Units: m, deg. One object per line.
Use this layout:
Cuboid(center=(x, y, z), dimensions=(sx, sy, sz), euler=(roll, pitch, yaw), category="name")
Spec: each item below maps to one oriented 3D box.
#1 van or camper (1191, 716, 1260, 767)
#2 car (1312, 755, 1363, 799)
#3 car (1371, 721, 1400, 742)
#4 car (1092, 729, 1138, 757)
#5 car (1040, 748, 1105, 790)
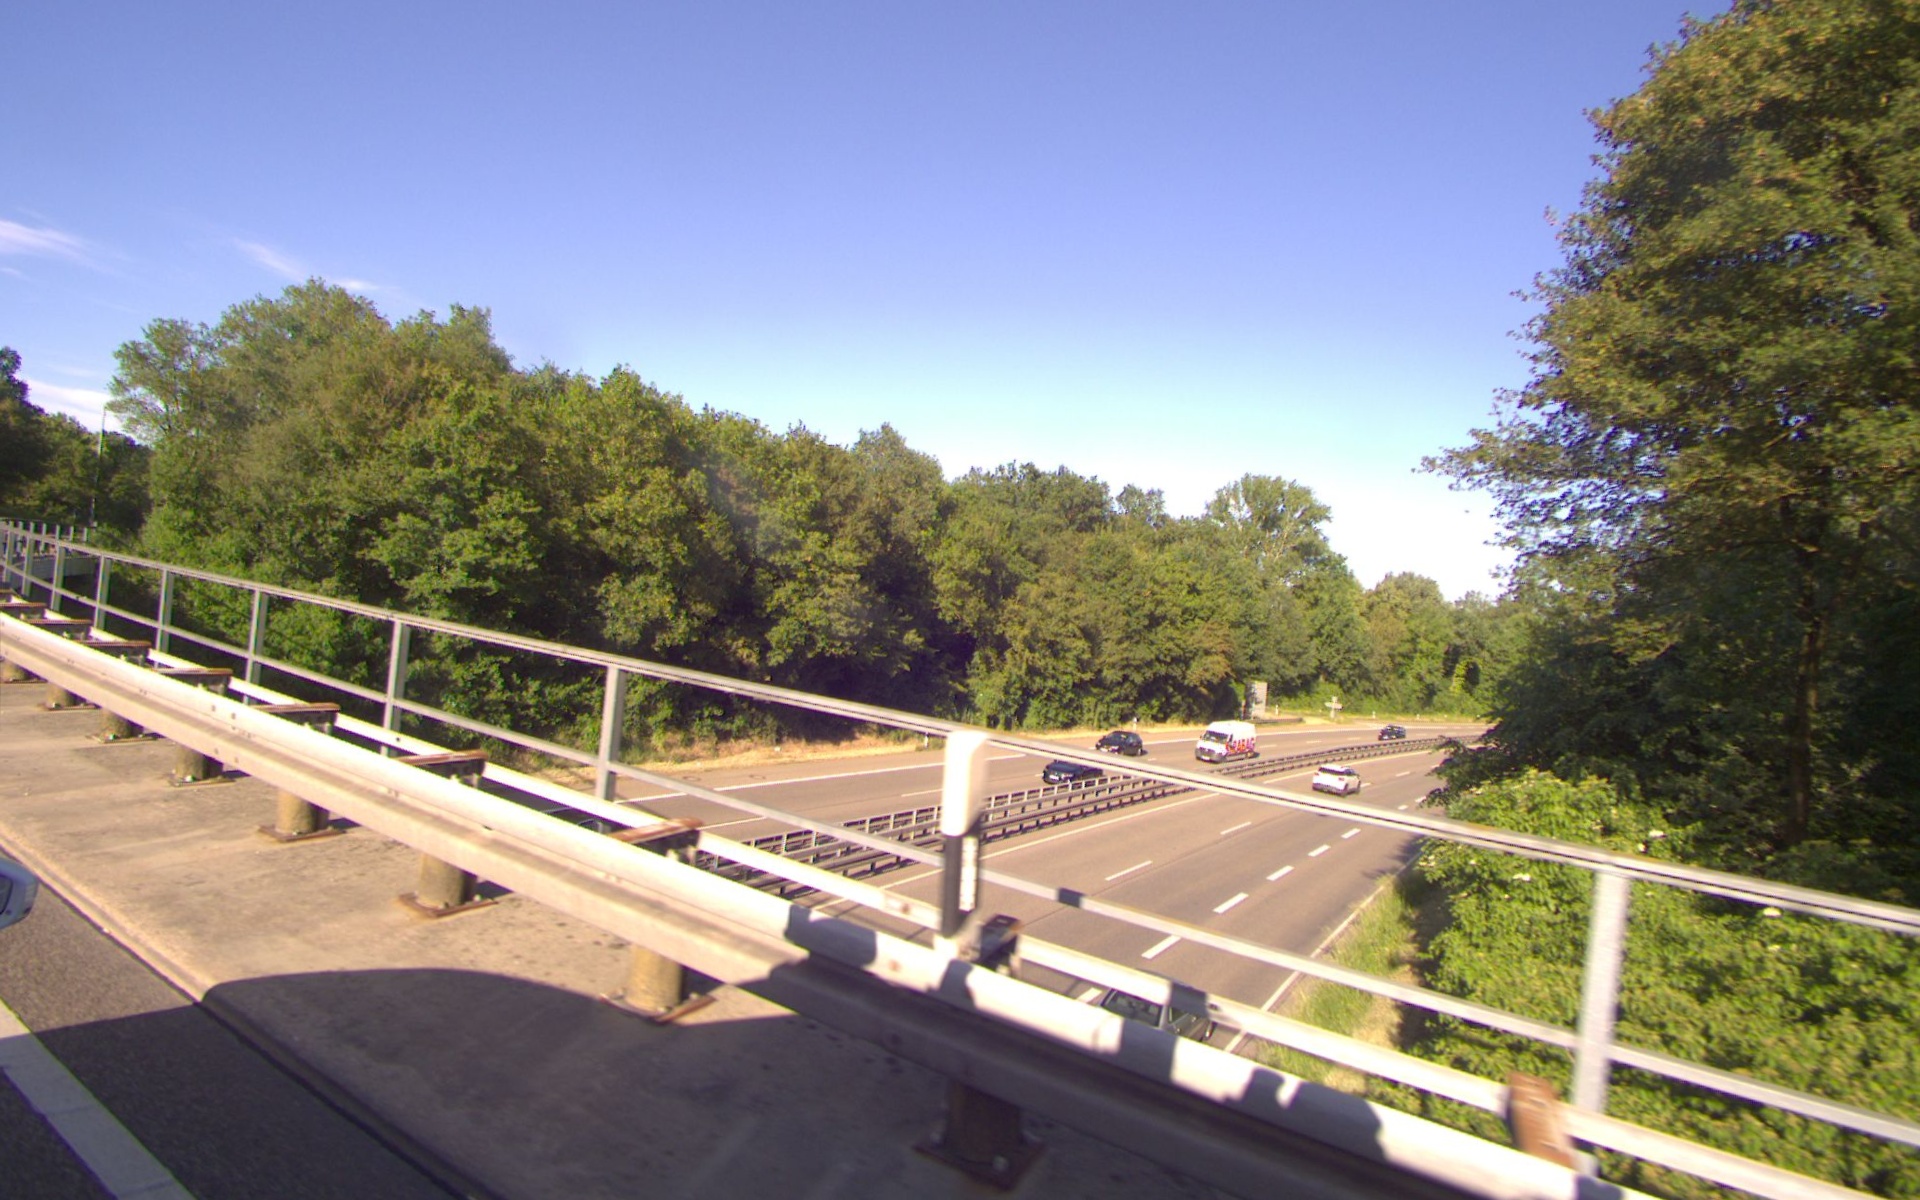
Cuboid(center=(18.441, 9.694, 69.592), dimensions=(2.185, 2.679, 6.808), euler=(10, 2, 34), category="van or camper")
Cuboid(center=(21.854, 10.181, 58.183), dimensions=(1.859, 1.861, 3.828), euler=(9, 1, 32), category="car")
Cuboid(center=(44.347, 13.692, 104.813), dimensions=(1.871, 1.817, 3.891), euler=(9, 0, 35), category="car")
Cuboid(center=(9.958, 9.121, 64.435), dimensions=(1.392, 1.357, 3.574), euler=(8, 1, 33), category="car")
Cuboid(center=(5.734, 8.516, 50.973), dimensions=(1.486, 1.506, 3.988), euler=(8, 1, 34), category="car")
